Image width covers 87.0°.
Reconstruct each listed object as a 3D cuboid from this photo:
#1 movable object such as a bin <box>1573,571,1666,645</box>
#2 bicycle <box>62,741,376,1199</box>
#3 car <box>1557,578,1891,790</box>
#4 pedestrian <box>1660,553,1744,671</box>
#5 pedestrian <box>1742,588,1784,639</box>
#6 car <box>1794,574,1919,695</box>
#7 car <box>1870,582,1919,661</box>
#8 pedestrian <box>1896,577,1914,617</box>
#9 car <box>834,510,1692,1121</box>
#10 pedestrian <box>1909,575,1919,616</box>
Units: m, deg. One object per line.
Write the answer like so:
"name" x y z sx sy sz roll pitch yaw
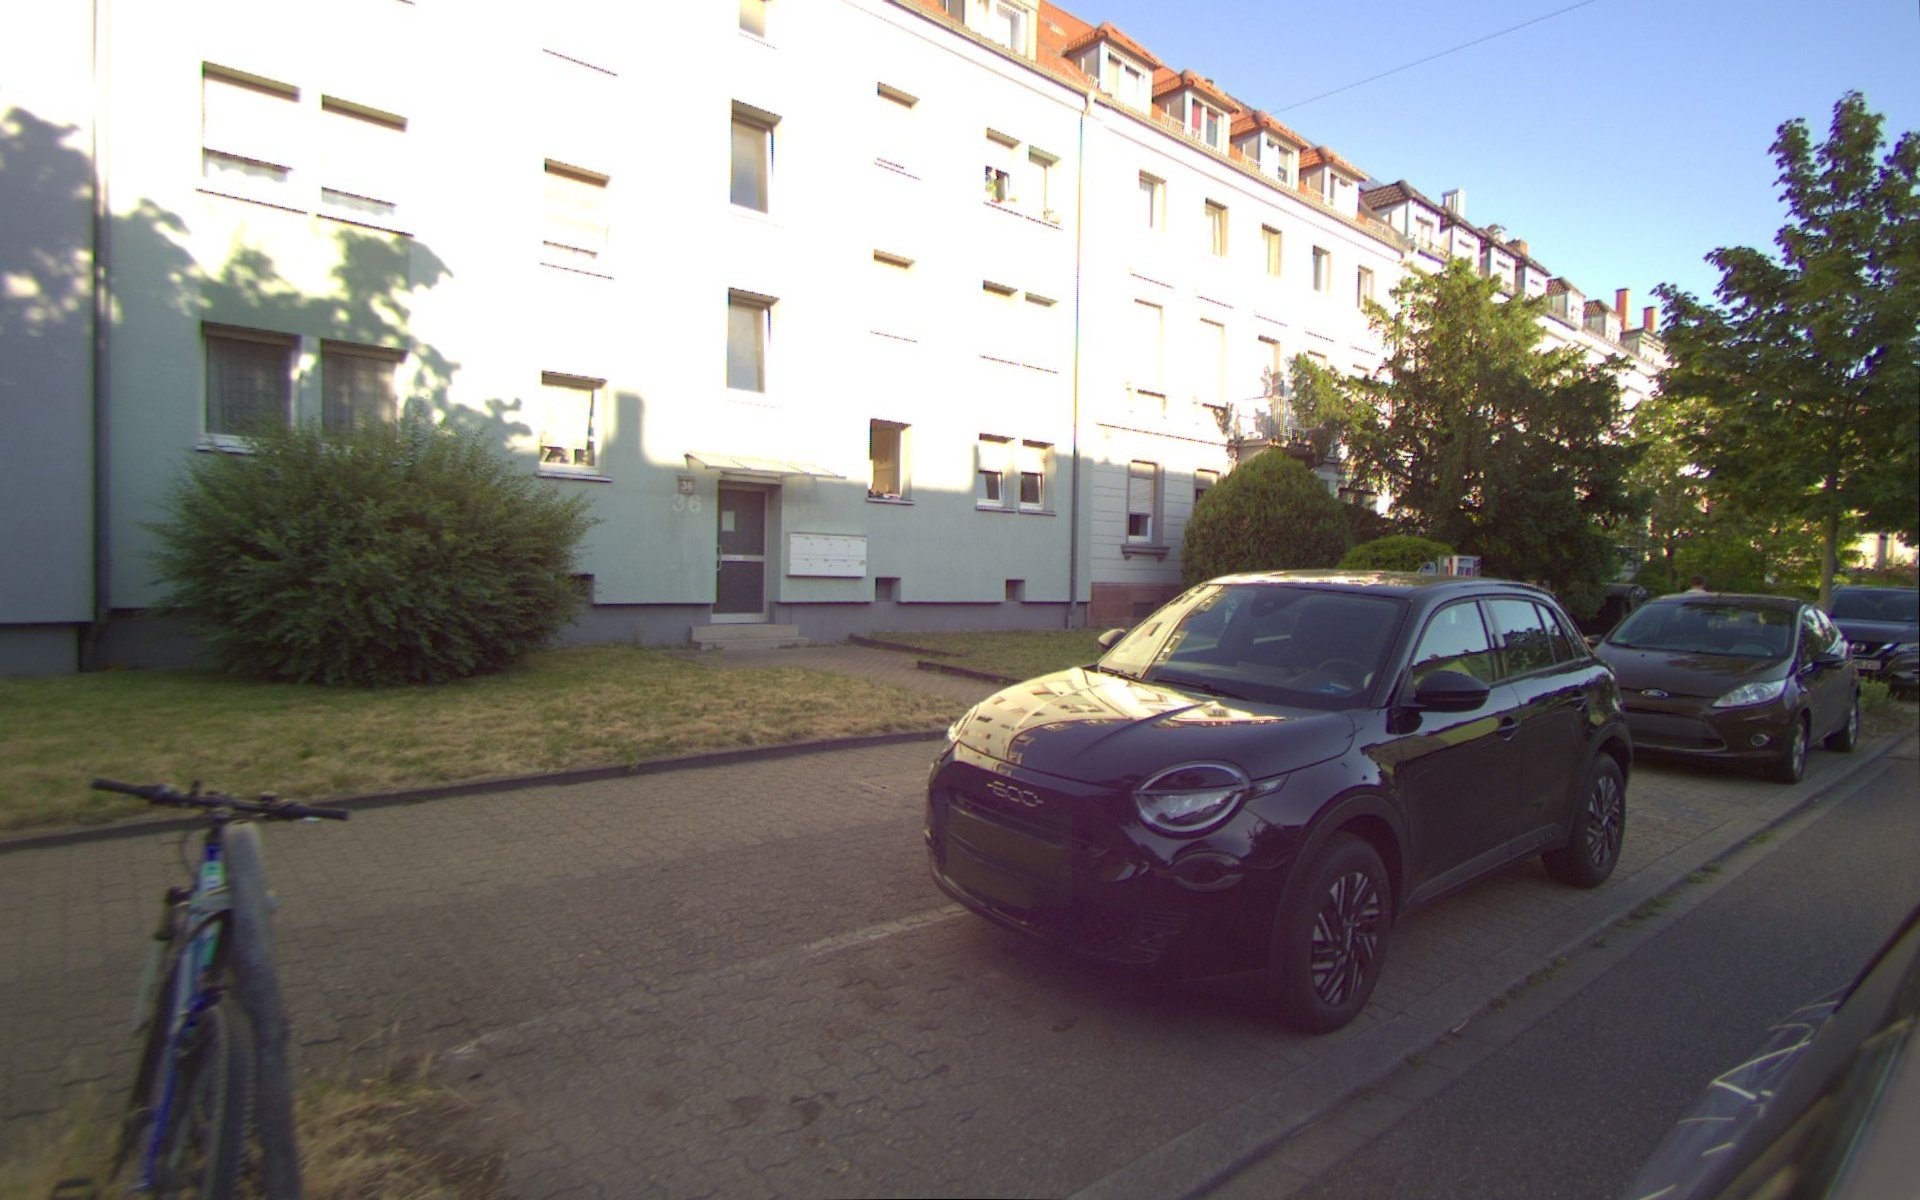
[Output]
"movable object such as a bin" 14.494 0.152 22.271 1.116 1.510 1.273 0 4 -30
"bicycle" -1.704 0.881 2.233 0.386 0.880 1.554 0 2 -43
"car" 7.103 0.588 9.270 3.890 1.484 1.616 0 3 -41
"pedestrian" 11.193 0.164 15.272 0.792 1.721 0.790 0 1 -36
"pedestrian" 20.351 0.318 25.642 0.776 1.250 0.674 -1 1 -40
"car" 14.254 0.451 15.405 4.024 1.621 1.722 0 2 -41
"car" 20.342 0.418 20.952 4.318 1.512 1.721 0 2 -42
"pedestrian" 40.641 -0.136 43.507 0.518 1.718 0.511 0 2 -45
"car" 1.675 0.527 4.770 4.175 1.682 1.759 0 4 -39
"pedestrian" 40.204 -0.189 42.473 0.518 1.718 0.511 0 2 -45
